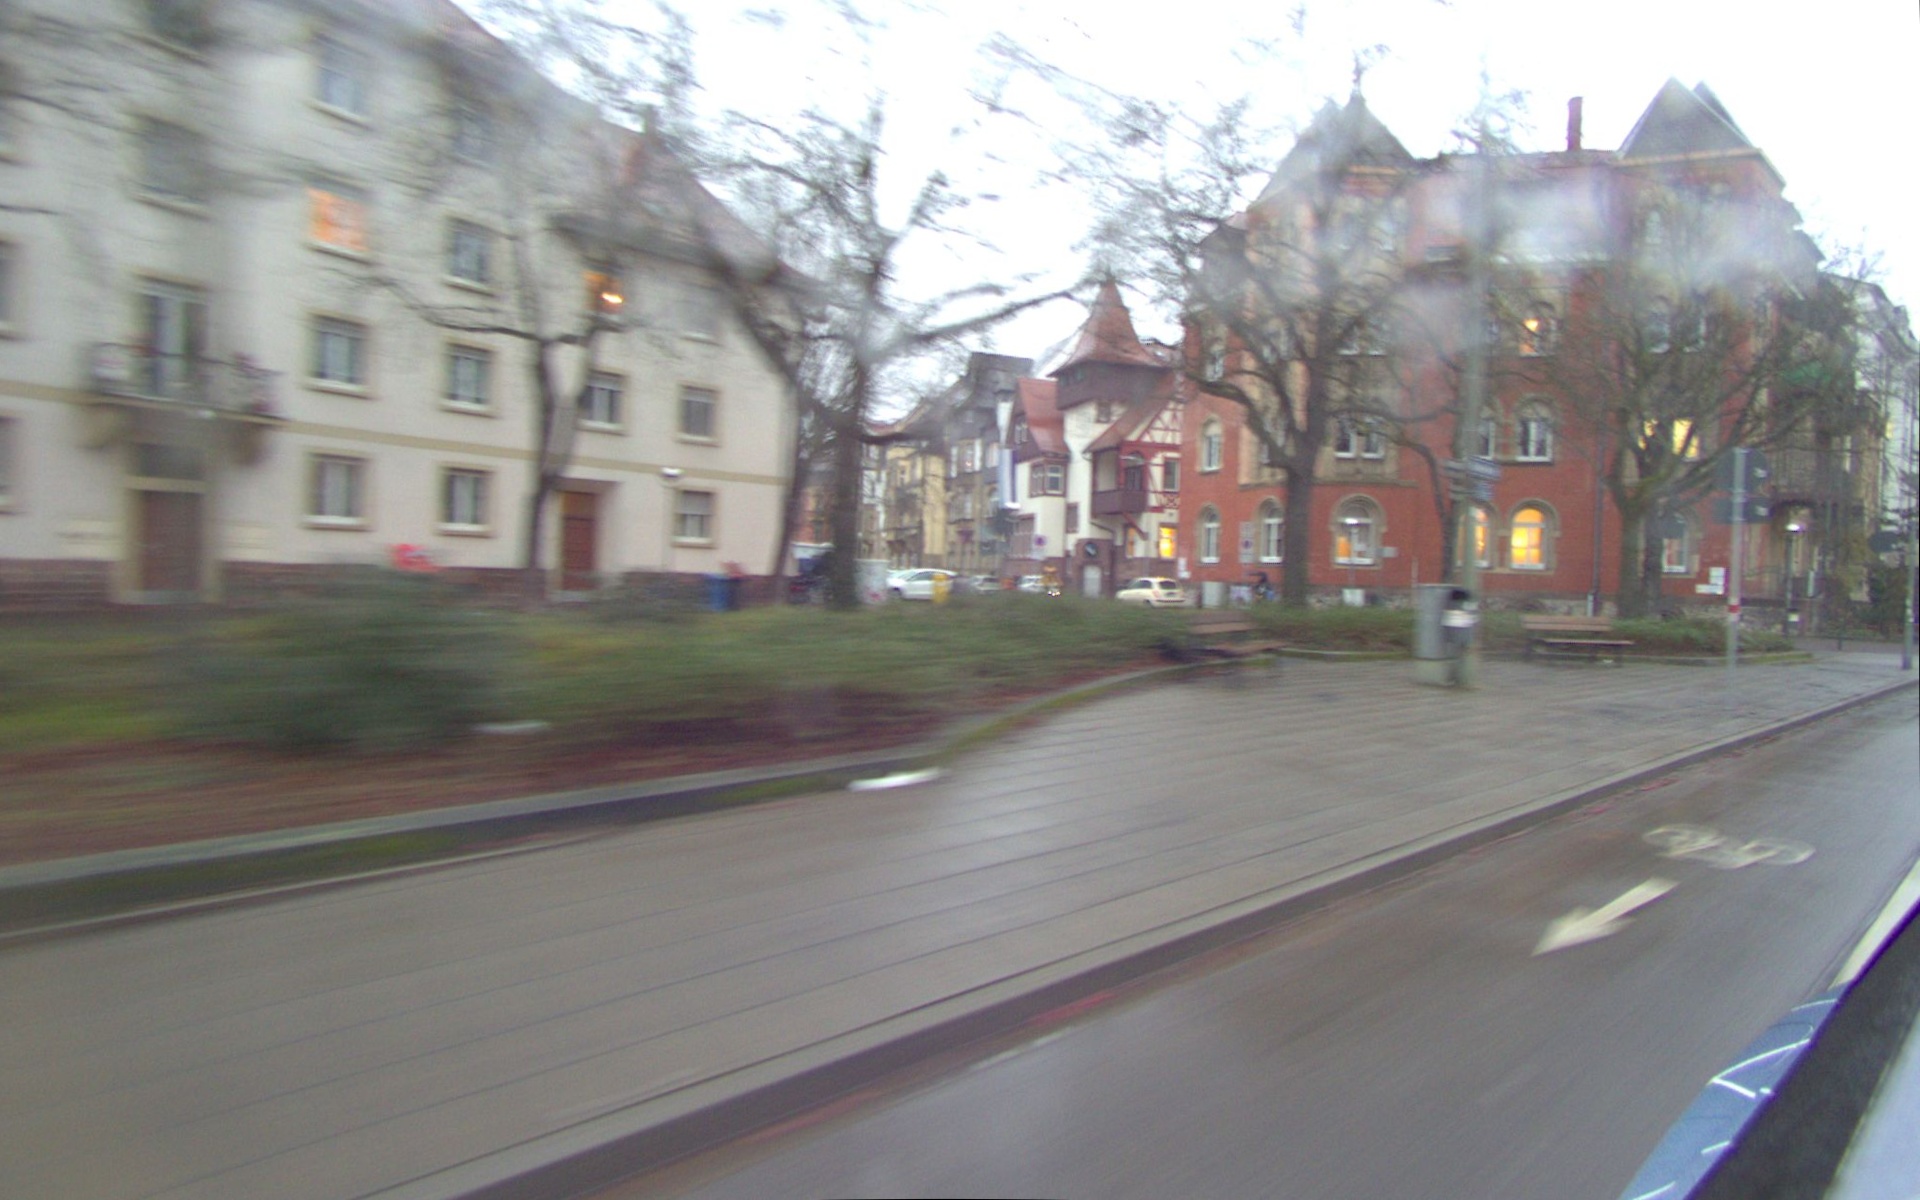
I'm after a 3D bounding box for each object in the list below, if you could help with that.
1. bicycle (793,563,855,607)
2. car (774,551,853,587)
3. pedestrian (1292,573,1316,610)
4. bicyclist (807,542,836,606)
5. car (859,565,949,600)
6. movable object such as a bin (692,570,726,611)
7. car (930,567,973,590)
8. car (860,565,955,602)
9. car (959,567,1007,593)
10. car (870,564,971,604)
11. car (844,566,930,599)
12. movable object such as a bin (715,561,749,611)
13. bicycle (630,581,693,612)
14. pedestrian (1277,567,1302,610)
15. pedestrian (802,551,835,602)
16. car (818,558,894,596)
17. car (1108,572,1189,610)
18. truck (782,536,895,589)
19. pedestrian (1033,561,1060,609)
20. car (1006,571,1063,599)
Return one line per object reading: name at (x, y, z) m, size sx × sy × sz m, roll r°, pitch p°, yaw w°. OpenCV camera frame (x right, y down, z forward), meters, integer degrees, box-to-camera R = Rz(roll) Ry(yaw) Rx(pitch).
bicycle at (-4.115, -0.452, 30.640) m, size 1.880 × 1.307 × 0.467 m, roll 0°, pitch 2°, yaw -41°
car at (-8.763, -1.857, 60.510) m, size 4.237 × 2.038 × 2.005 m, roll 1°, pitch 2°, yaw -23°
pedestrian at (12.545, -0.308, 36.863) m, size 0.596 × 1.333 × 0.548 m, roll 1°, pitch 0°, yaw -21°
bicyclist at (-4.186, -0.772, 30.578) m, size 0.667 × 1.910 × 0.467 m, roll 0°, pitch 2°, yaw -40°
car at (-2.617, -0.831, 47.032) m, size 3.916 × 1.494 × 1.855 m, roll 1°, pitch 1°, yaw -12°
movable object such as a bin at (-6.322, -0.247, 25.498) m, size 0.526 × 0.993 × 0.642 m, roll 2°, pitch 2°, yaw 37°
car at (-0.648, -1.511, 70.745) m, size 1.689 × 1.517 × 4.010 m, roll 1°, pitch 2°, yaw -20°
car at (-2.341, -0.750, 44.697) m, size 3.916 × 1.494 × 1.855 m, roll 1°, pitch 1°, yaw -12°
car at (1.440, -1.301, 64.869) m, size 1.689 × 1.526 × 4.010 m, roll 1°, pitch 2°, yaw -20°
car at (-1.675, -0.679, 42.126) m, size 3.916 × 1.504 × 1.855 m, roll 1°, pitch 1°, yaw -12°
car at (-3.601, -0.880, 49.556) m, size 3.916 × 1.494 × 1.855 m, roll 1°, pitch 1°, yaw -12°
movable object such as a bin at (-5.854, -0.369, 26.021) m, size 0.526 × 1.243 × 0.642 m, roll 2°, pitch 2°, yaw 37°
bicycle at (-7.748, -0.086, 26.308) m, size 1.562 × 0.775 × 0.339 m, roll 0°, pitch 2°, yaw -44°
pedestrian at (11.939, -0.415, 36.630) m, size 0.630 × 1.546 × 0.548 m, roll 1°, pitch 0°, yaw -19°
pedestrian at (-4.671, -0.786, 33.393) m, size 0.744 × 1.662 × 1.125 m, roll 1°, pitch 2°, yaw -24°
car at (-5.790, -1.295, 56.139) m, size 3.916 × 1.957 × 1.855 m, roll 1°, pitch 1°, yaw -12°
car at (8.210, -0.429, 44.329) m, size 1.613 × 1.514 × 4.010 m, roll 1°, pitch 2°, yaw -20°
truck at (-7.683, -2.351, 64.146) m, size 6.592 × 3.130 × 2.639 m, roll 1°, pitch 2°, yaw -22°
pedestrian at (3.445, -0.603, 40.299) m, size 0.797 × 1.887 × 0.880 m, roll 1°, pitch 1°, yaw -13°
car at (4.117, -0.837, 56.489) m, size 1.613 × 1.415 × 4.010 m, roll 1°, pitch 2°, yaw -20°
